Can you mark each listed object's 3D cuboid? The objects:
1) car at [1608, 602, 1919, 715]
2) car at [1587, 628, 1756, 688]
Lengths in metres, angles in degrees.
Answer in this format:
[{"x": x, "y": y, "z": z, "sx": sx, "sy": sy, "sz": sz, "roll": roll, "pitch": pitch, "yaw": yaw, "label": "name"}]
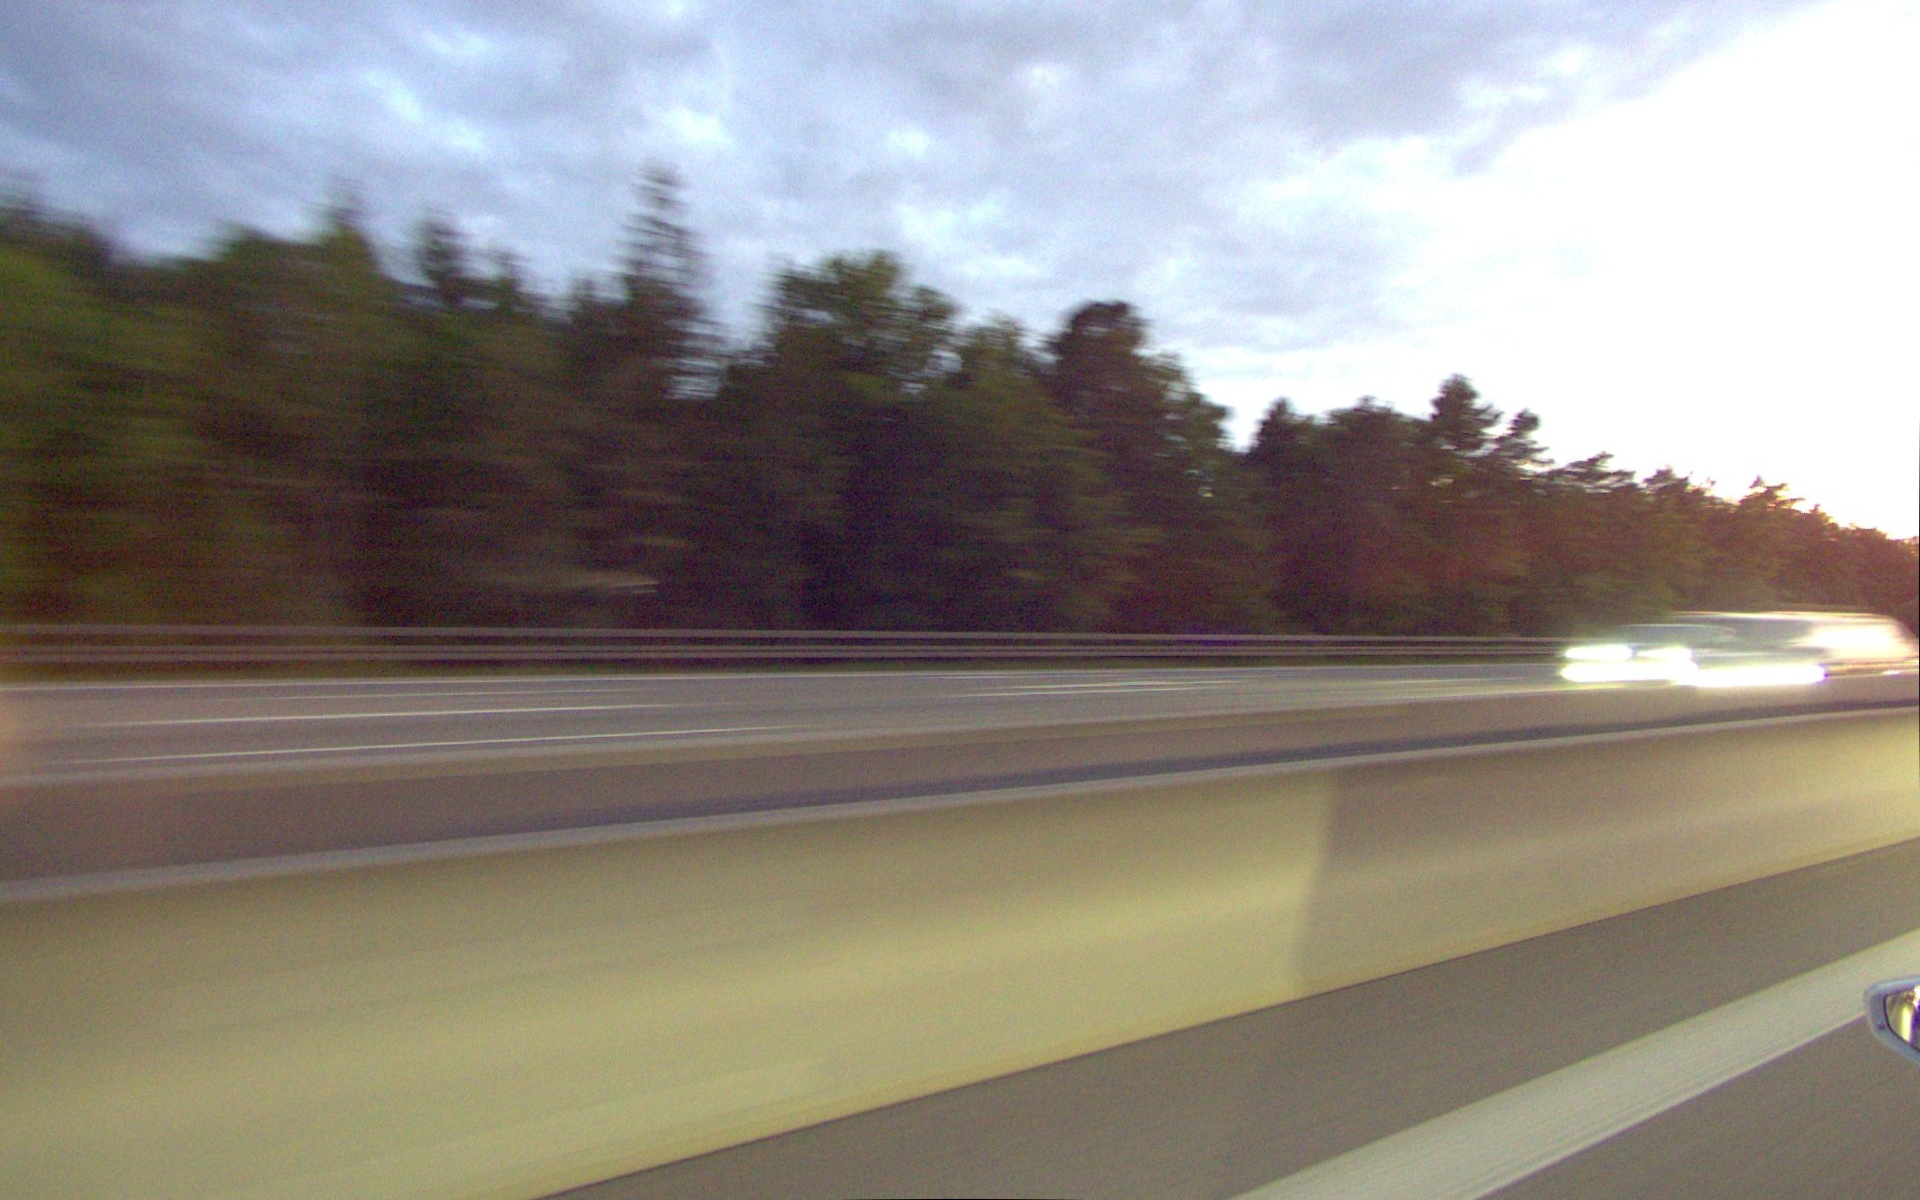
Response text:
[{"x": 12.051, "y": 0.806, "z": 14.919, "sx": 5.084, "sy": 1.443, "sz": 1.984, "roll": 1, "pitch": -1, "yaw": -30, "label": "car"}, {"x": 19.089, "y": 1.512, "z": 26.910, "sx": 4.690, "sy": 1.443, "sz": 1.903, "roll": 1, "pitch": -1, "yaw": -30, "label": "car"}]
